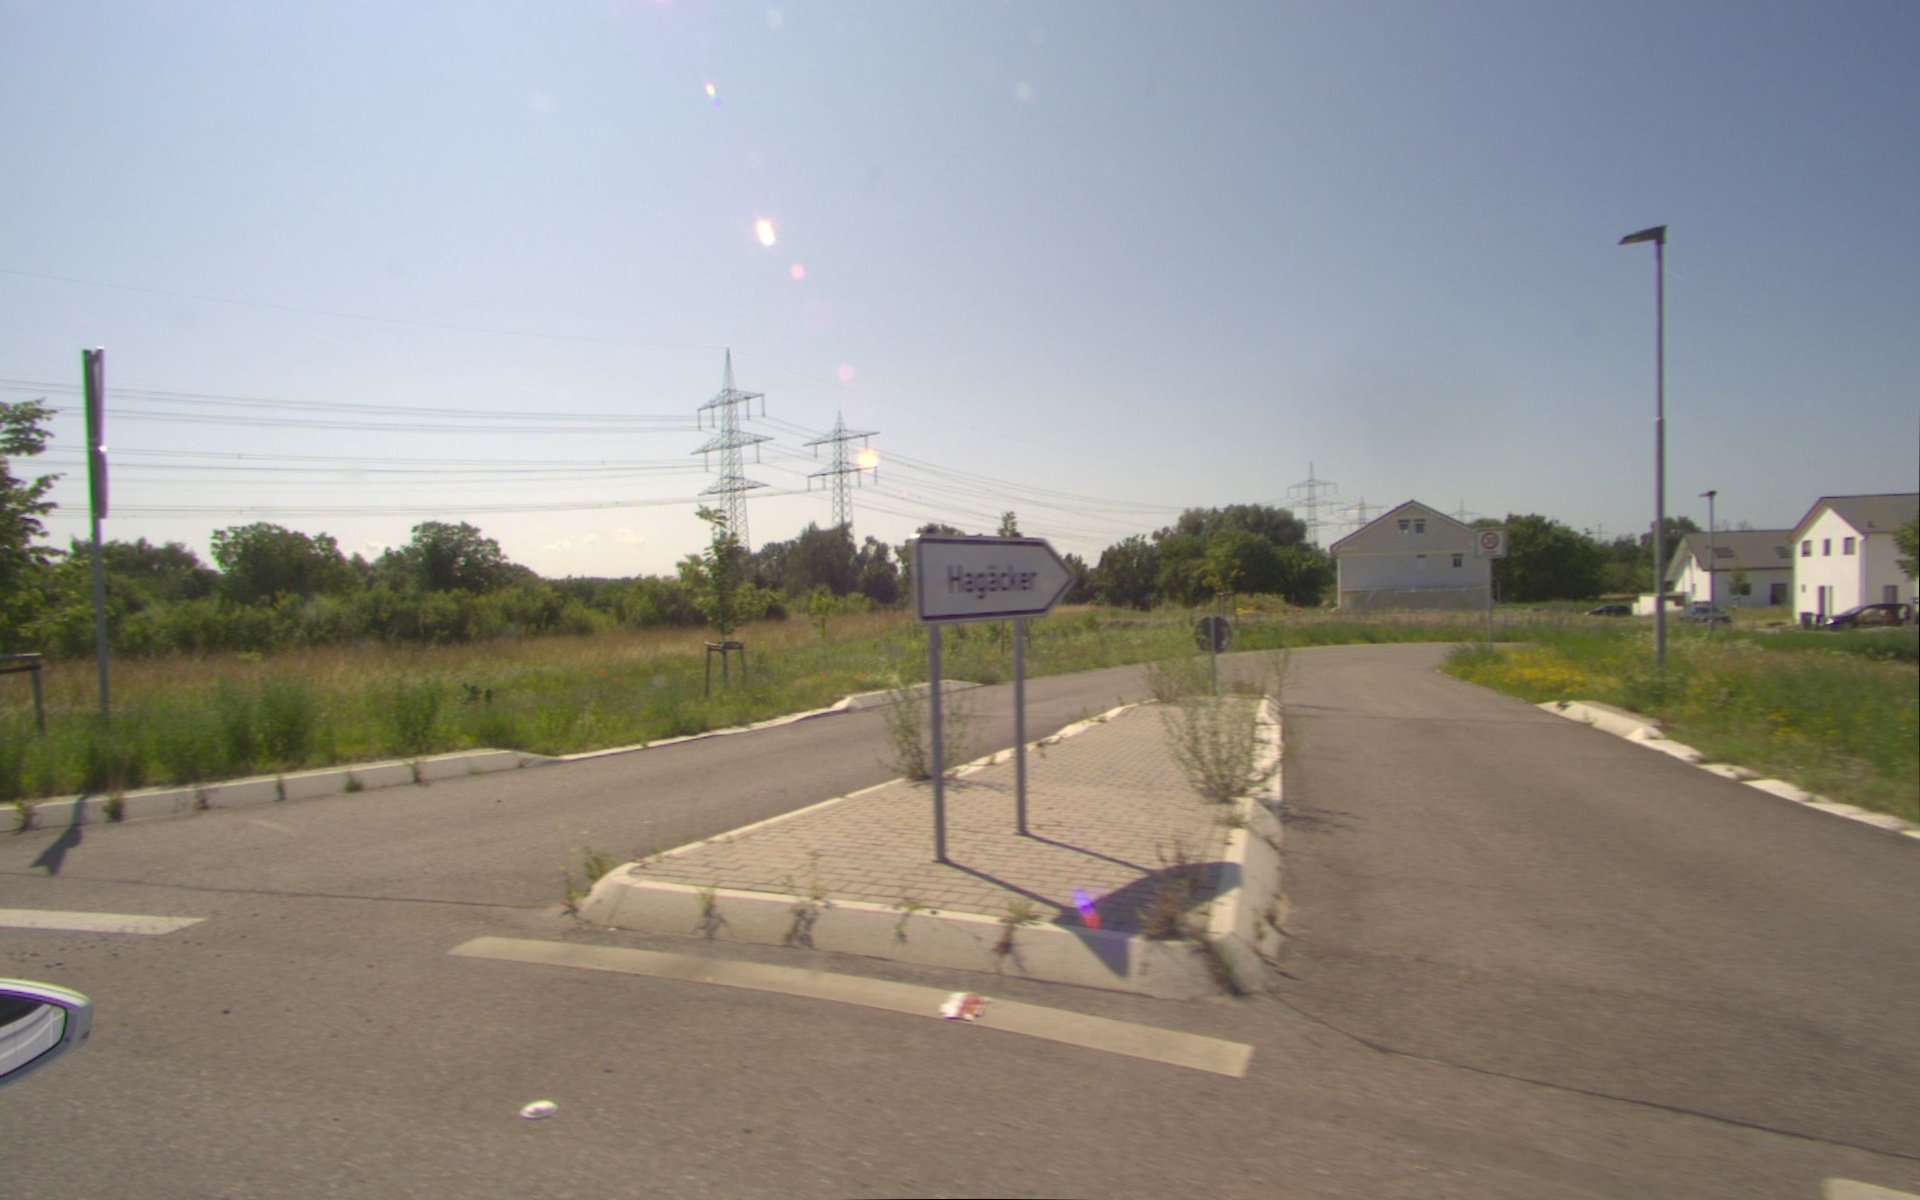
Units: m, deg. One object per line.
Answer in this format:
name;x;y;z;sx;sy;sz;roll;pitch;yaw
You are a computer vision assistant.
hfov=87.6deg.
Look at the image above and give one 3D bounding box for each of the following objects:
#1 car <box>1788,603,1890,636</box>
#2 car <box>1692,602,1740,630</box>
car;50.473;1.104;57.581;3.932;1.817;1.995;-1;0;22
car;48.156;1.031;63.834;1.654;1.683;3.477;-1;-1;24
